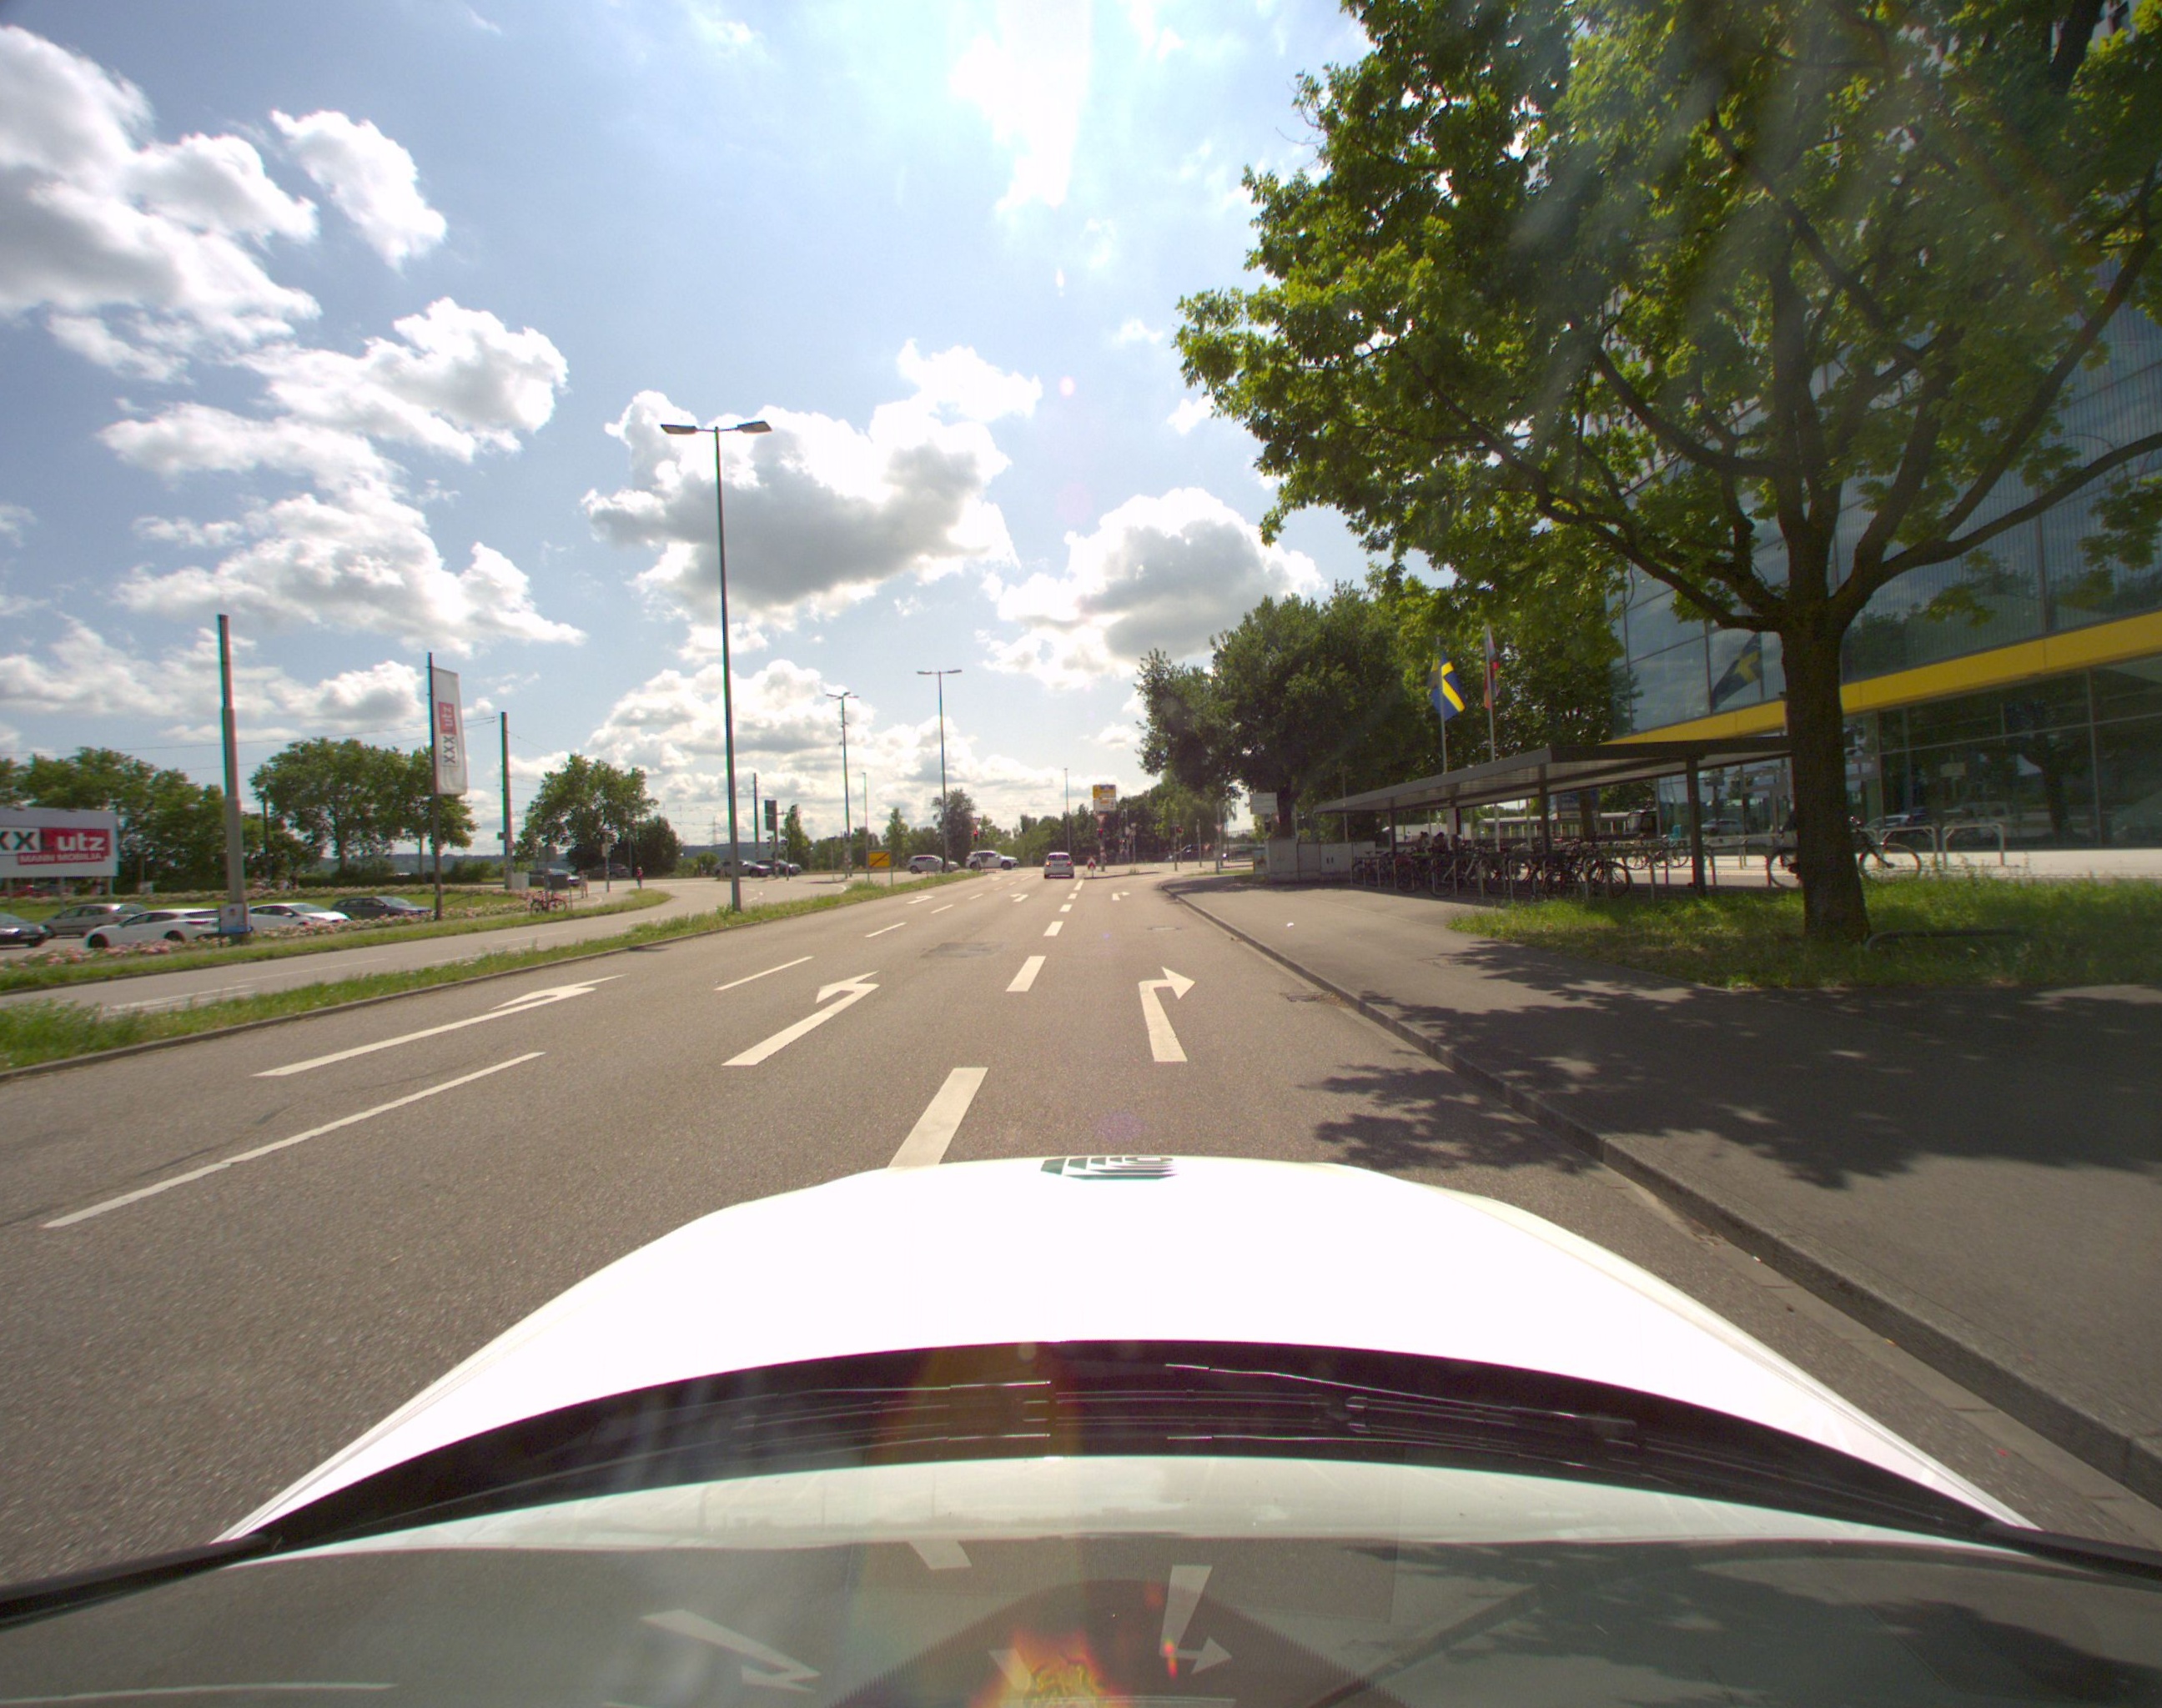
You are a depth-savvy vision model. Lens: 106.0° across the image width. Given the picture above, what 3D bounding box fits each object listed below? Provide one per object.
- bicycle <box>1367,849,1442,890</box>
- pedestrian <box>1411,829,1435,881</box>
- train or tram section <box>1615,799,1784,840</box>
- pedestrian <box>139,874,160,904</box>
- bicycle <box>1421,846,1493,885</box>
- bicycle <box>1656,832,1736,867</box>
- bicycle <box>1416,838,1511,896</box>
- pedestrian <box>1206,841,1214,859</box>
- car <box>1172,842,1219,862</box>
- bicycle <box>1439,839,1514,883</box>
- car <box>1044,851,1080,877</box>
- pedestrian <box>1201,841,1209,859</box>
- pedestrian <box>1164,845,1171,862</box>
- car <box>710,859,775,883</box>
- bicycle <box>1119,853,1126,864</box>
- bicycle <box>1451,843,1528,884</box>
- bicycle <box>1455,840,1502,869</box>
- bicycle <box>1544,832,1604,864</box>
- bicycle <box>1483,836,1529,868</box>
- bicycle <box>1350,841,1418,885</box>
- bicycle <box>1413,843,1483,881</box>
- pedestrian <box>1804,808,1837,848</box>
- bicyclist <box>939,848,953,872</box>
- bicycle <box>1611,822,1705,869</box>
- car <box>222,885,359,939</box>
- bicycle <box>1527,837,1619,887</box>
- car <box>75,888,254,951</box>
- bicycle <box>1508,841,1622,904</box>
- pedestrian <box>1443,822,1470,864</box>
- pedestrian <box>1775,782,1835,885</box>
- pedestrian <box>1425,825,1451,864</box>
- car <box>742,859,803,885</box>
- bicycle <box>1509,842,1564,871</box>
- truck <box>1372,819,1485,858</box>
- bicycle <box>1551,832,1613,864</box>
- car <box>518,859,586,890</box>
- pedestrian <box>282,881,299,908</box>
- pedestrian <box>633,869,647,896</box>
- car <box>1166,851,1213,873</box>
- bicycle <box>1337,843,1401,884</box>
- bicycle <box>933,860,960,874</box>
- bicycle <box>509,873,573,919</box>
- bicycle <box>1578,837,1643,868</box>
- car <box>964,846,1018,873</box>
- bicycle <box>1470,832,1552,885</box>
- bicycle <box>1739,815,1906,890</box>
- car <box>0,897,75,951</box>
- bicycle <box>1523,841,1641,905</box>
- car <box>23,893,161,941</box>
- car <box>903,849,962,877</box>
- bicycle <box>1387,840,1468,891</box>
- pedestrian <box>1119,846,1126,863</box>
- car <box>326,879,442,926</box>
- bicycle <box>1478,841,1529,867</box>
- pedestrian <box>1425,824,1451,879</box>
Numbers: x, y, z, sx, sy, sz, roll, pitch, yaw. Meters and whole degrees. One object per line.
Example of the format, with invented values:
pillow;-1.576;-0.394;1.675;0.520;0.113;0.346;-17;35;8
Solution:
bicycle;8.856;0.418;22.291;1.858;0.994;0.423;-4;0;-4
pedestrian;11.119;0.032;26.483;0.540;1.662;0.548;-3;0;12
train or tram section;58.714;-3.252;77.435;14.019;3.186;3.044;-2;-1;-3
pedestrian;-66.317;2.481;57.975;0.560;2.013;0.779;-3;0;22
bicycle;10.804;0.323;23.423;1.858;0.994;0.423;-4;0;-4
bicycle;17.364;-0.122;23.005;1.855;0.881;0.471;-4;0;1
bicycle;8.738;0.294;18.634;1.888;1.170;0.424;-4;0;2
pedestrian;13.027;-0.403;81.969;0.673;1.748;0.638;-2;1;3
car;12.136;-0.217;86.398;4.635;1.820;2.000;-3;0;0
bicycle;11.055;0.198;22.761;1.858;1.116;0.423;-3;-1;-4
car;-1.099;0.568;48.764;1.887;1.469;3.835;-1;0;2
pedestrian;12.585;-0.388;82.717;0.703;1.721;0.601;-3;0;3
pedestrian;8.632;-0.059;81.281;0.520;1.721;0.731;-3;0;5
car;-28.081;1.409;67.588;4.490;1.674;1.904;-3;-1;0
bicycle;4.241;0.423;83.325;0.616;1.087;1.724;-2;0;3
bicycle;11.095;0.248;22.111;1.858;0.995;0.423;-3;-2;-4
bicycle;17.052;0.010;34.909;1.924;1.108;0.501;-3;-2;-17
bicycle;17.588;-0.204;29.074;1.858;0.994;0.423;-4;-2;-4
bicycle;17.057;-0.072;32.667;1.678;1.157;0.459;-4;0;-14
bicycle;9.092;0.271;24.473;1.858;1.187;0.423;-4;0;-4
bicycle;11.105;0.243;24.675;1.854;1.034;0.424;-3;0;2
pedestrian;32.543;-1.137;35.851;0.705;1.664;0.797;-2;-2;-29
bicyclist;-10.521;0.451;63.305;0.918;1.846;0.611;-2;0;0
bicycle;17.093;-0.250;24.174;2.126;1.229;0.723;-4;0;11
car;-34.525;2.508;35.634;3.972;2.013;2.001;-3;0;1
bicycle;11.334;0.179;18.779;1.858;0.994;0.423;-4;-1;-4
car;-34.199;2.420;30.486;4.334;1.989;2.000;-3;0;0
bicycle;9.020;0.337;15.191;1.858;0.994;0.423;-5;0;-4
pedestrian;19.160;-0.553;41.601;1.000;2.072;0.978;-3;-1;16
pedestrian;12.569;-0.343;14.148;0.626;1.721;0.528;-5;-2;37
pedestrian;18.012;-0.450;41.138;1.000;1.902;0.978;-3;-1;15
car;-26.617;1.527;70.390;4.334;1.989;2.000;-3;0;0
bicycle;17.473;0.088;31.270;1.858;0.994;0.464;-3;0;-3
truck;41.011;-1.822;96.349;11.914;4.104;2.953;-2;0;1
bicycle;17.091;-0.208;27.810;1.858;0.994;0.423;-3;-1;-4
car;-38.784;1.500;59.717;3.955;2.013;2.009;-3;0;17
pedestrian;-53.506;2.731;55.120;0.529;1.810;0.599;-3;0;12
pedestrian;-30.085;1.927;55.553;0.800;1.837;0.859;0;-1;-27
car;10.029;0.697;75.320;3.975;1.783;1.909;-3;0;-1
bicycle;9.120;0.288;25.791;1.858;1.187;0.423;-3;0;-4
bicycle;-10.467;1.019;63.304;2.010;0.999;0.622;-1;0;0
bicycle;-21.475;1.647;32.444;1.014;1.675;2.049;-3;0;2
bicycle;17.268;-0.036;26.573;1.858;0.882;0.423;-4;-1;-4
car;-7.678;0.470;69.745;4.334;1.989;2.000;-3;0;0
bicycle;11.013;0.109;20.886;1.858;1.231;0.423;-4;0;-4
bicycle;12.401;-0.010;13.715;1.988;1.108;0.581;-5;-1;39
car;-44.482;2.918;33.223;4.334;1.989;2.000;-3;0;0
bicycle;9.040;0.330;14.701;1.858;0.994;0.423;-5;0;-4
car;-49.192;3.117;40.576;4.334;1.989;2.000;-3;0;0
car;-12.138;0.717;66.790;4.334;1.989;2.000;-3;0;0
bicycle;8.866;0.290;20.860;1.858;1.187;0.423;-4;0;-4
pedestrian;4.227;0.068;83.291;0.608;1.769;0.673;-3;0;3
car;-34.491;2.355;40.392;3.972;2.013;2.001;-3;0;1
bicycle;17.467;0.001;33.693;1.854;0.994;0.424;-3;0;2
pedestrian;11.164;-0.072;25.485;0.542;1.662;0.478;-3;0;0
